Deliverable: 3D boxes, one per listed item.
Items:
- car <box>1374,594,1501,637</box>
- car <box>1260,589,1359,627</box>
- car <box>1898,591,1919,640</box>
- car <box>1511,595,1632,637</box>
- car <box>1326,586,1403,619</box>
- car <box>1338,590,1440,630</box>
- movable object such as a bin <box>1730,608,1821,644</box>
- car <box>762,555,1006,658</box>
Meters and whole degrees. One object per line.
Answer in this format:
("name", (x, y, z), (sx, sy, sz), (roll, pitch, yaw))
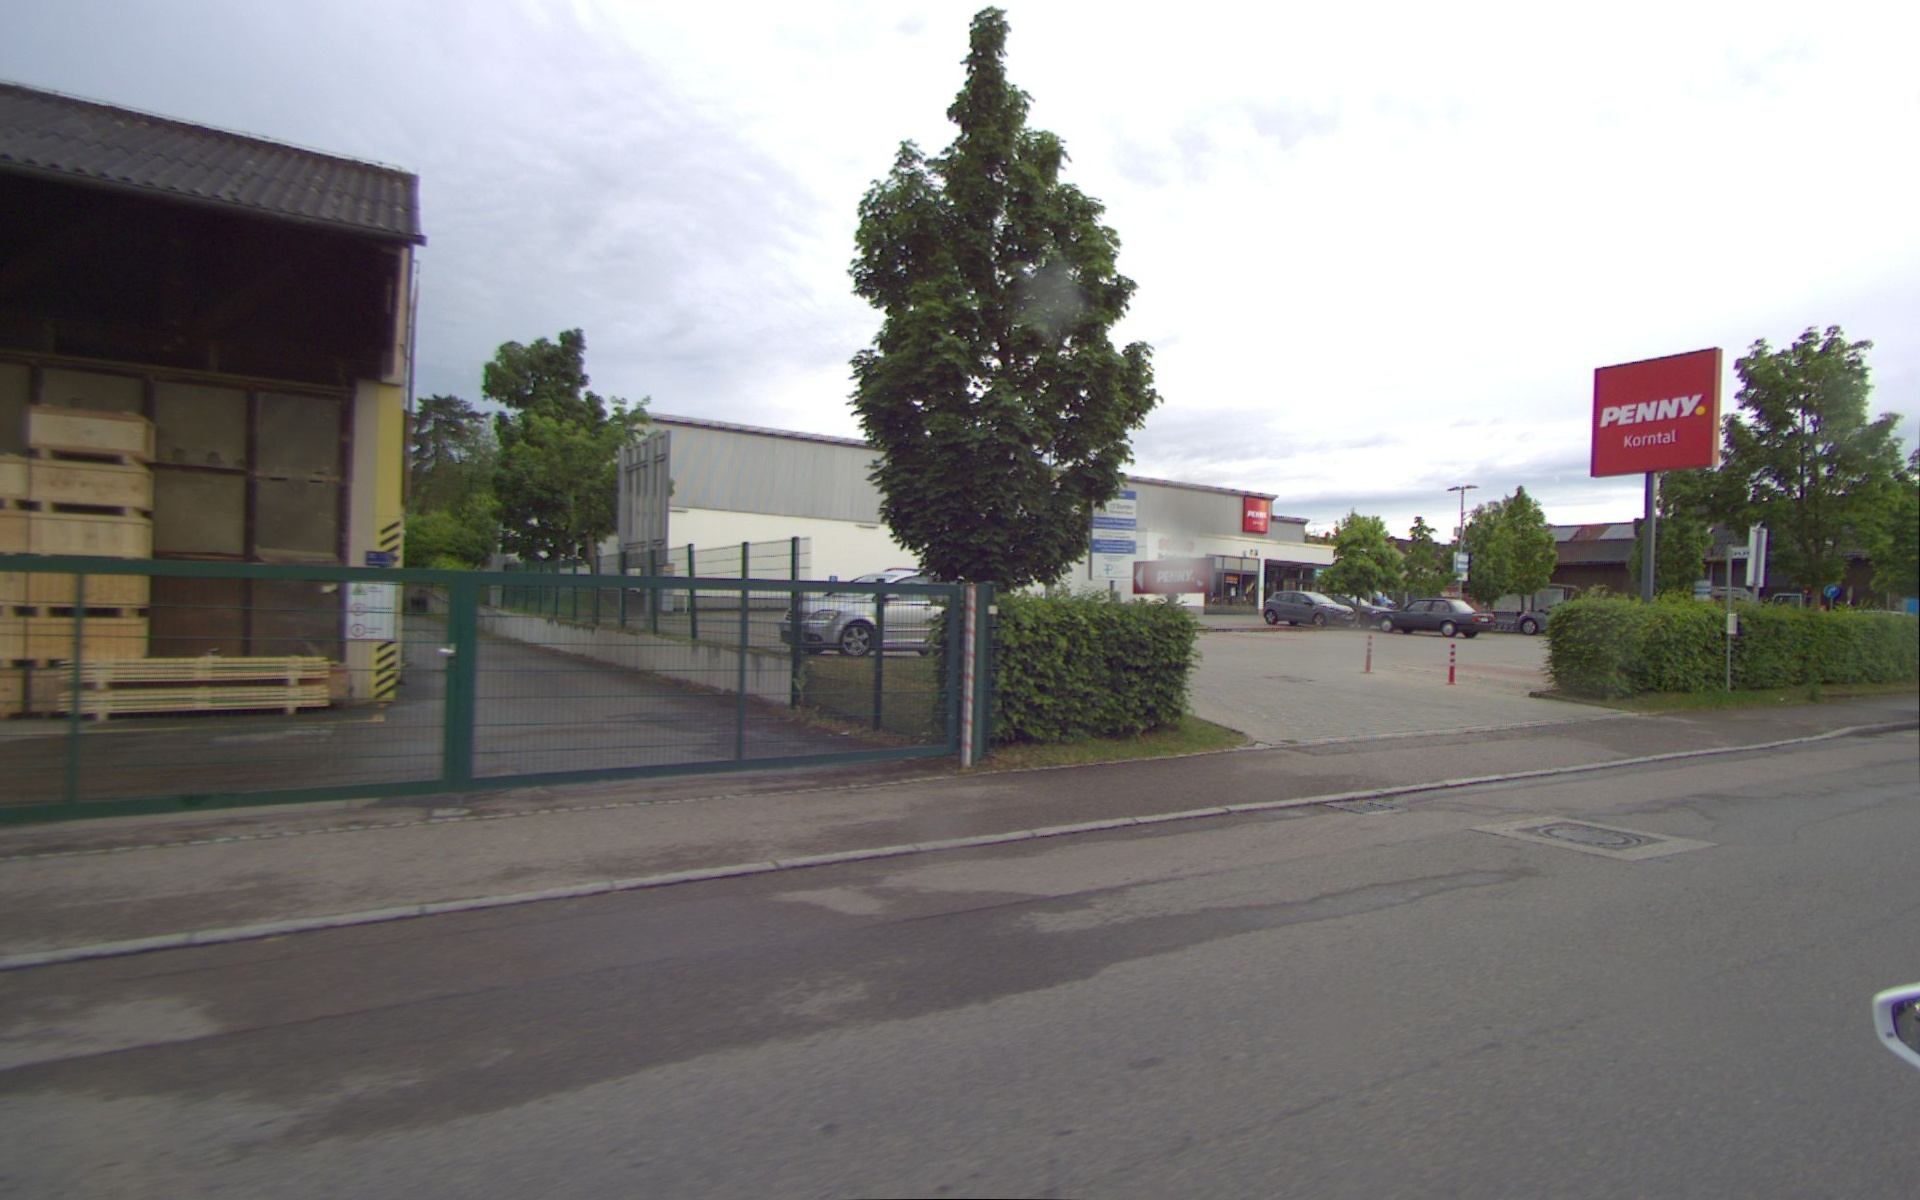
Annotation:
("car", (17.996, 0.560, 37.990), (1.785, 1.406, 3.950), (2, 1, -35))
("car", (14.878, 0.302, 42.930), (1.441, 1.516, 3.860), (0, 1, -36))
("car", (41.404, 0.730, 40.884), (2.039, 2.040, 4.285), (2, 1, -30))
("car", (26.205, 0.666, 43.157), (1.867, 1.572, 4.028), (2, 1, -35))
("car", (30.849, 0.179, 76.700), (1.956, 2.269, 5.190), (2, 1, -35))
("car", (19.821, 0.436, 46.511), (1.756, 1.628, 3.957), (2, 1, -37))
("movable object such as a bin", (44.106, 1.392, 54.367), (1.981, 1.783, 3.397), (2, 1, -36))
("car", (-1.262, 0.133, 17.658), (4.010, 1.608, 1.632), (2, 1, -38))
